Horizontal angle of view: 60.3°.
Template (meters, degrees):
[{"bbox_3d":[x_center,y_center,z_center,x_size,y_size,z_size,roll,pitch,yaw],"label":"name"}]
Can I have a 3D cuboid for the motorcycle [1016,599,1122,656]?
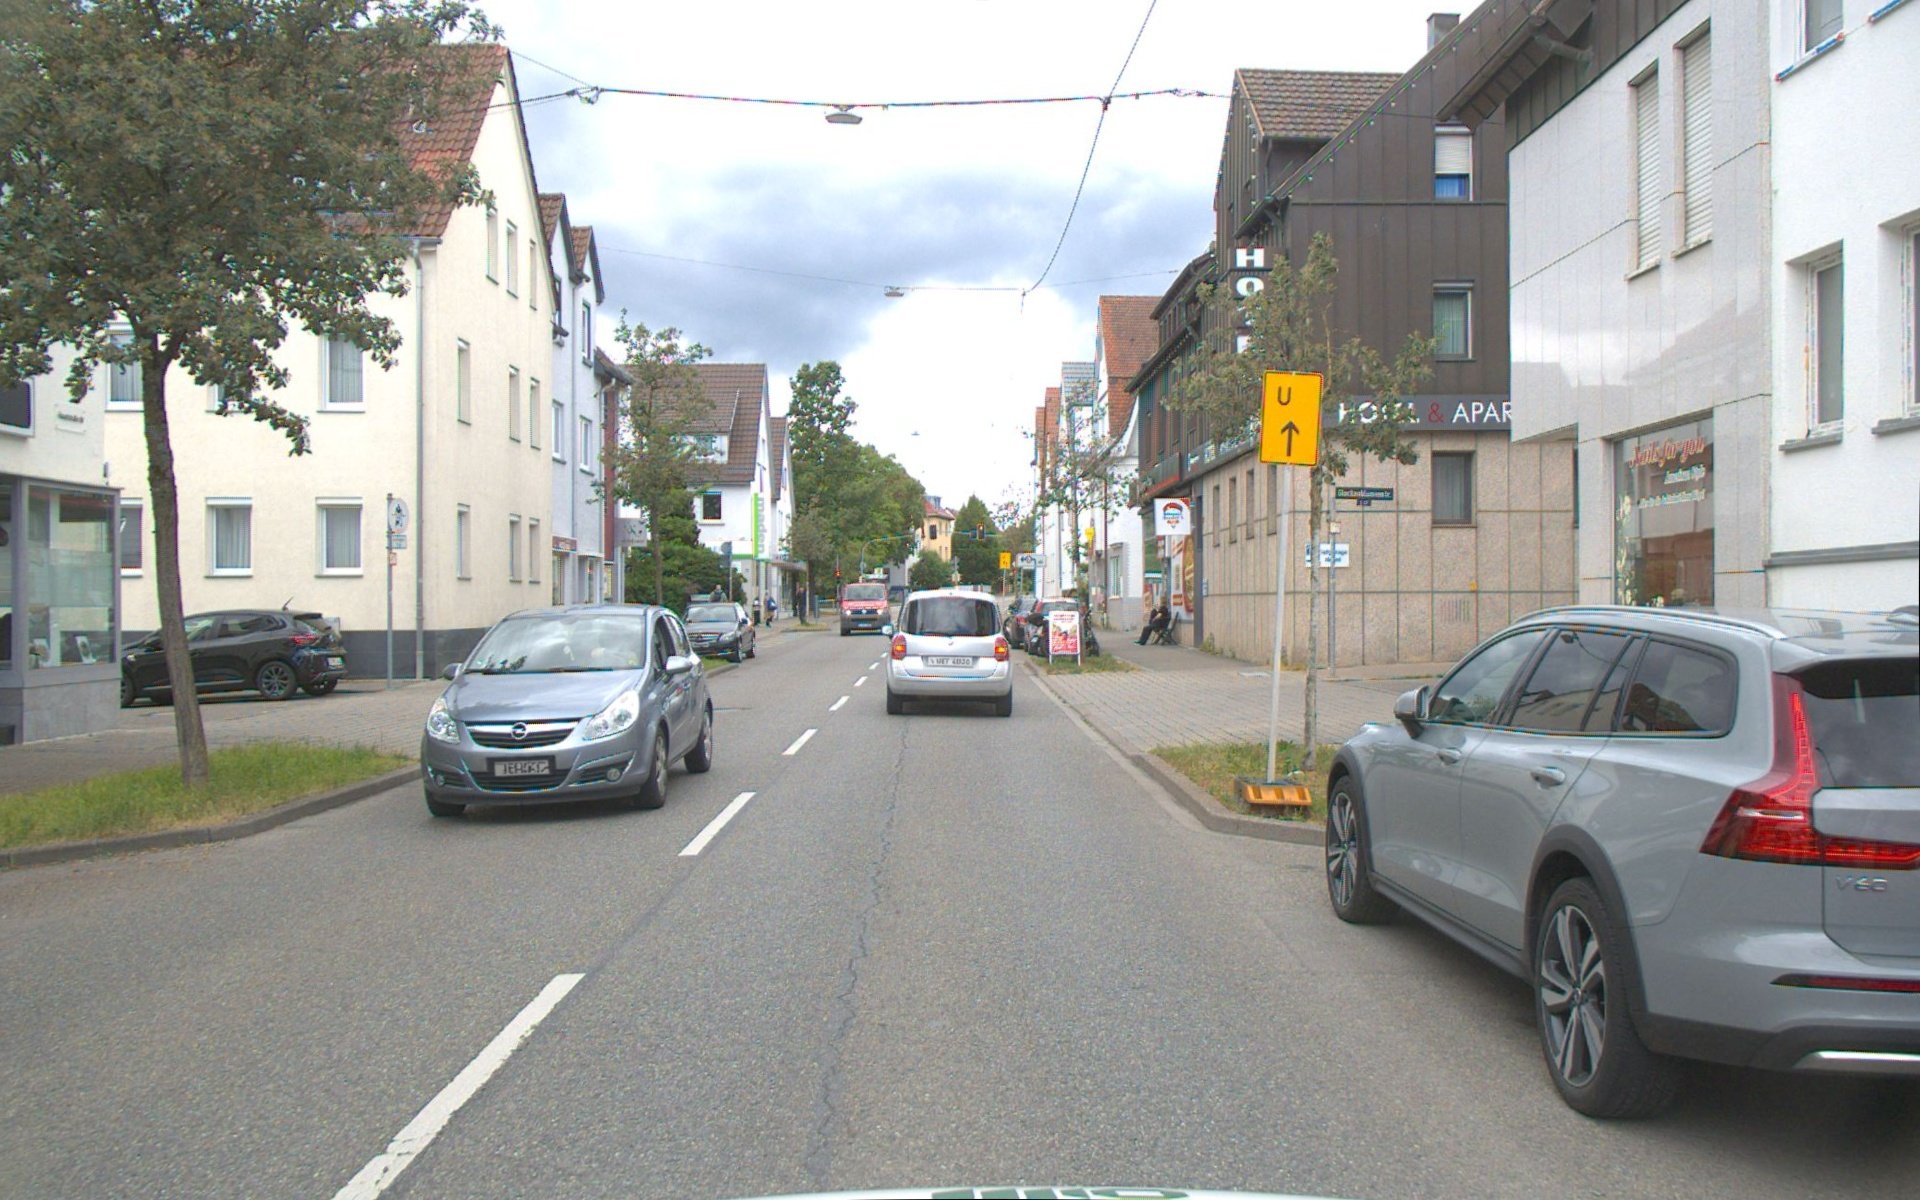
[{"bbox_3d":[2.668,0.674,40.470,2.680,1.359,0.693,1,0,-31],"label":"motorcycle"}]

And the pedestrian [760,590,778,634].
[{"bbox_3d":[-8.491,0.535,73.552,0.746,1.909,0.695,1,0,-1],"label":"pedestrian"}]

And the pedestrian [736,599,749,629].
[{"bbox_3d":[-9.711,0.627,73.782,0.482,1.300,0.588,1,0,-1],"label":"pedestrian"}]

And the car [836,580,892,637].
[{"bbox_3d":[-3.634,0.311,62.906,1.913,2.049,3.999,1,0,-1],"label":"car"}]

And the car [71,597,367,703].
[{"bbox_3d":[-11.702,0.762,26.321,3.908,1.561,1.734,-1,0,-4],"label":"car"}]

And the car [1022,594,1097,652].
[{"bbox_3d":[2.569,0.578,43.618,1.666,1.455,3.889,1,0,-1],"label":"car"}]

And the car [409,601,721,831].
[{"bbox_3d":[-2.917,0.770,13.029,1.649,1.473,4.018,-2,0,-3],"label":"car"}]

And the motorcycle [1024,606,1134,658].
[{"bbox_3d":[2.851,0.753,39.427,2.700,1.204,0.693,1,0,-31],"label":"motorcycle"}]

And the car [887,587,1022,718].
[{"bbox_3d":[-0.067,0.654,22.567,1.648,1.593,3.993,1,0,0],"label":"car"}]

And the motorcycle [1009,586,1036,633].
[{"bbox_3d":[2.301,0.352,60.785,0.683,1.667,2.411,1,0,9],"label":"motorcycle"}]

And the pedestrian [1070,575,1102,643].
[{"bbox_3d":[3.713,0.266,48.668,0.839,1.961,0.899,1,0,-1],"label":"pedestrian"}]

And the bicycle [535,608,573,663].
[{"bbox_3d":[-8.952,0.767,36.487,0.504,1.174,1.665,1,0,-3],"label":"bicycle"}]

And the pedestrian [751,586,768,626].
[{"bbox_3d":[-9.001,0.271,74.260,0.702,1.787,0.695,1,0,-1],"label":"pedestrian"}]

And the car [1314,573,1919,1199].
[{"bbox_3d":[2.723,0.733,6.122,1.837,1.566,4.512,1,0,0],"label":"car"}]

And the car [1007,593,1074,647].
[{"bbox_3d":[2.326,0.571,48.426,1.666,1.493,4.238,1,0,-1],"label":"car"}]

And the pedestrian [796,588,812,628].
[{"bbox_3d":[-7.401,0.385,78.380,0.702,1.909,0.695,1,0,-1],"label":"pedestrian"}]

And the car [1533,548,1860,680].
[{"bbox_3d":[11.816,0.217,26.710,4.391,1.899,1.929,-2,0,-3],"label":"car"}]

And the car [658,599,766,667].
[{"bbox_3d":[-6.027,0.764,40.706,1.908,1.493,4.515,-2,0,0],"label":"car"}]

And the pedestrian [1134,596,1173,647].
[{"bbox_3d":[5.310,0.576,45.403,0.869,1.322,0.966,-4,0,0],"label":"pedestrian"}]

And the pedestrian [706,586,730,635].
[{"bbox_3d":[-9.196,0.400,62.823,0.747,1.822,0.889,1,0,-1],"label":"pedestrian"}]
